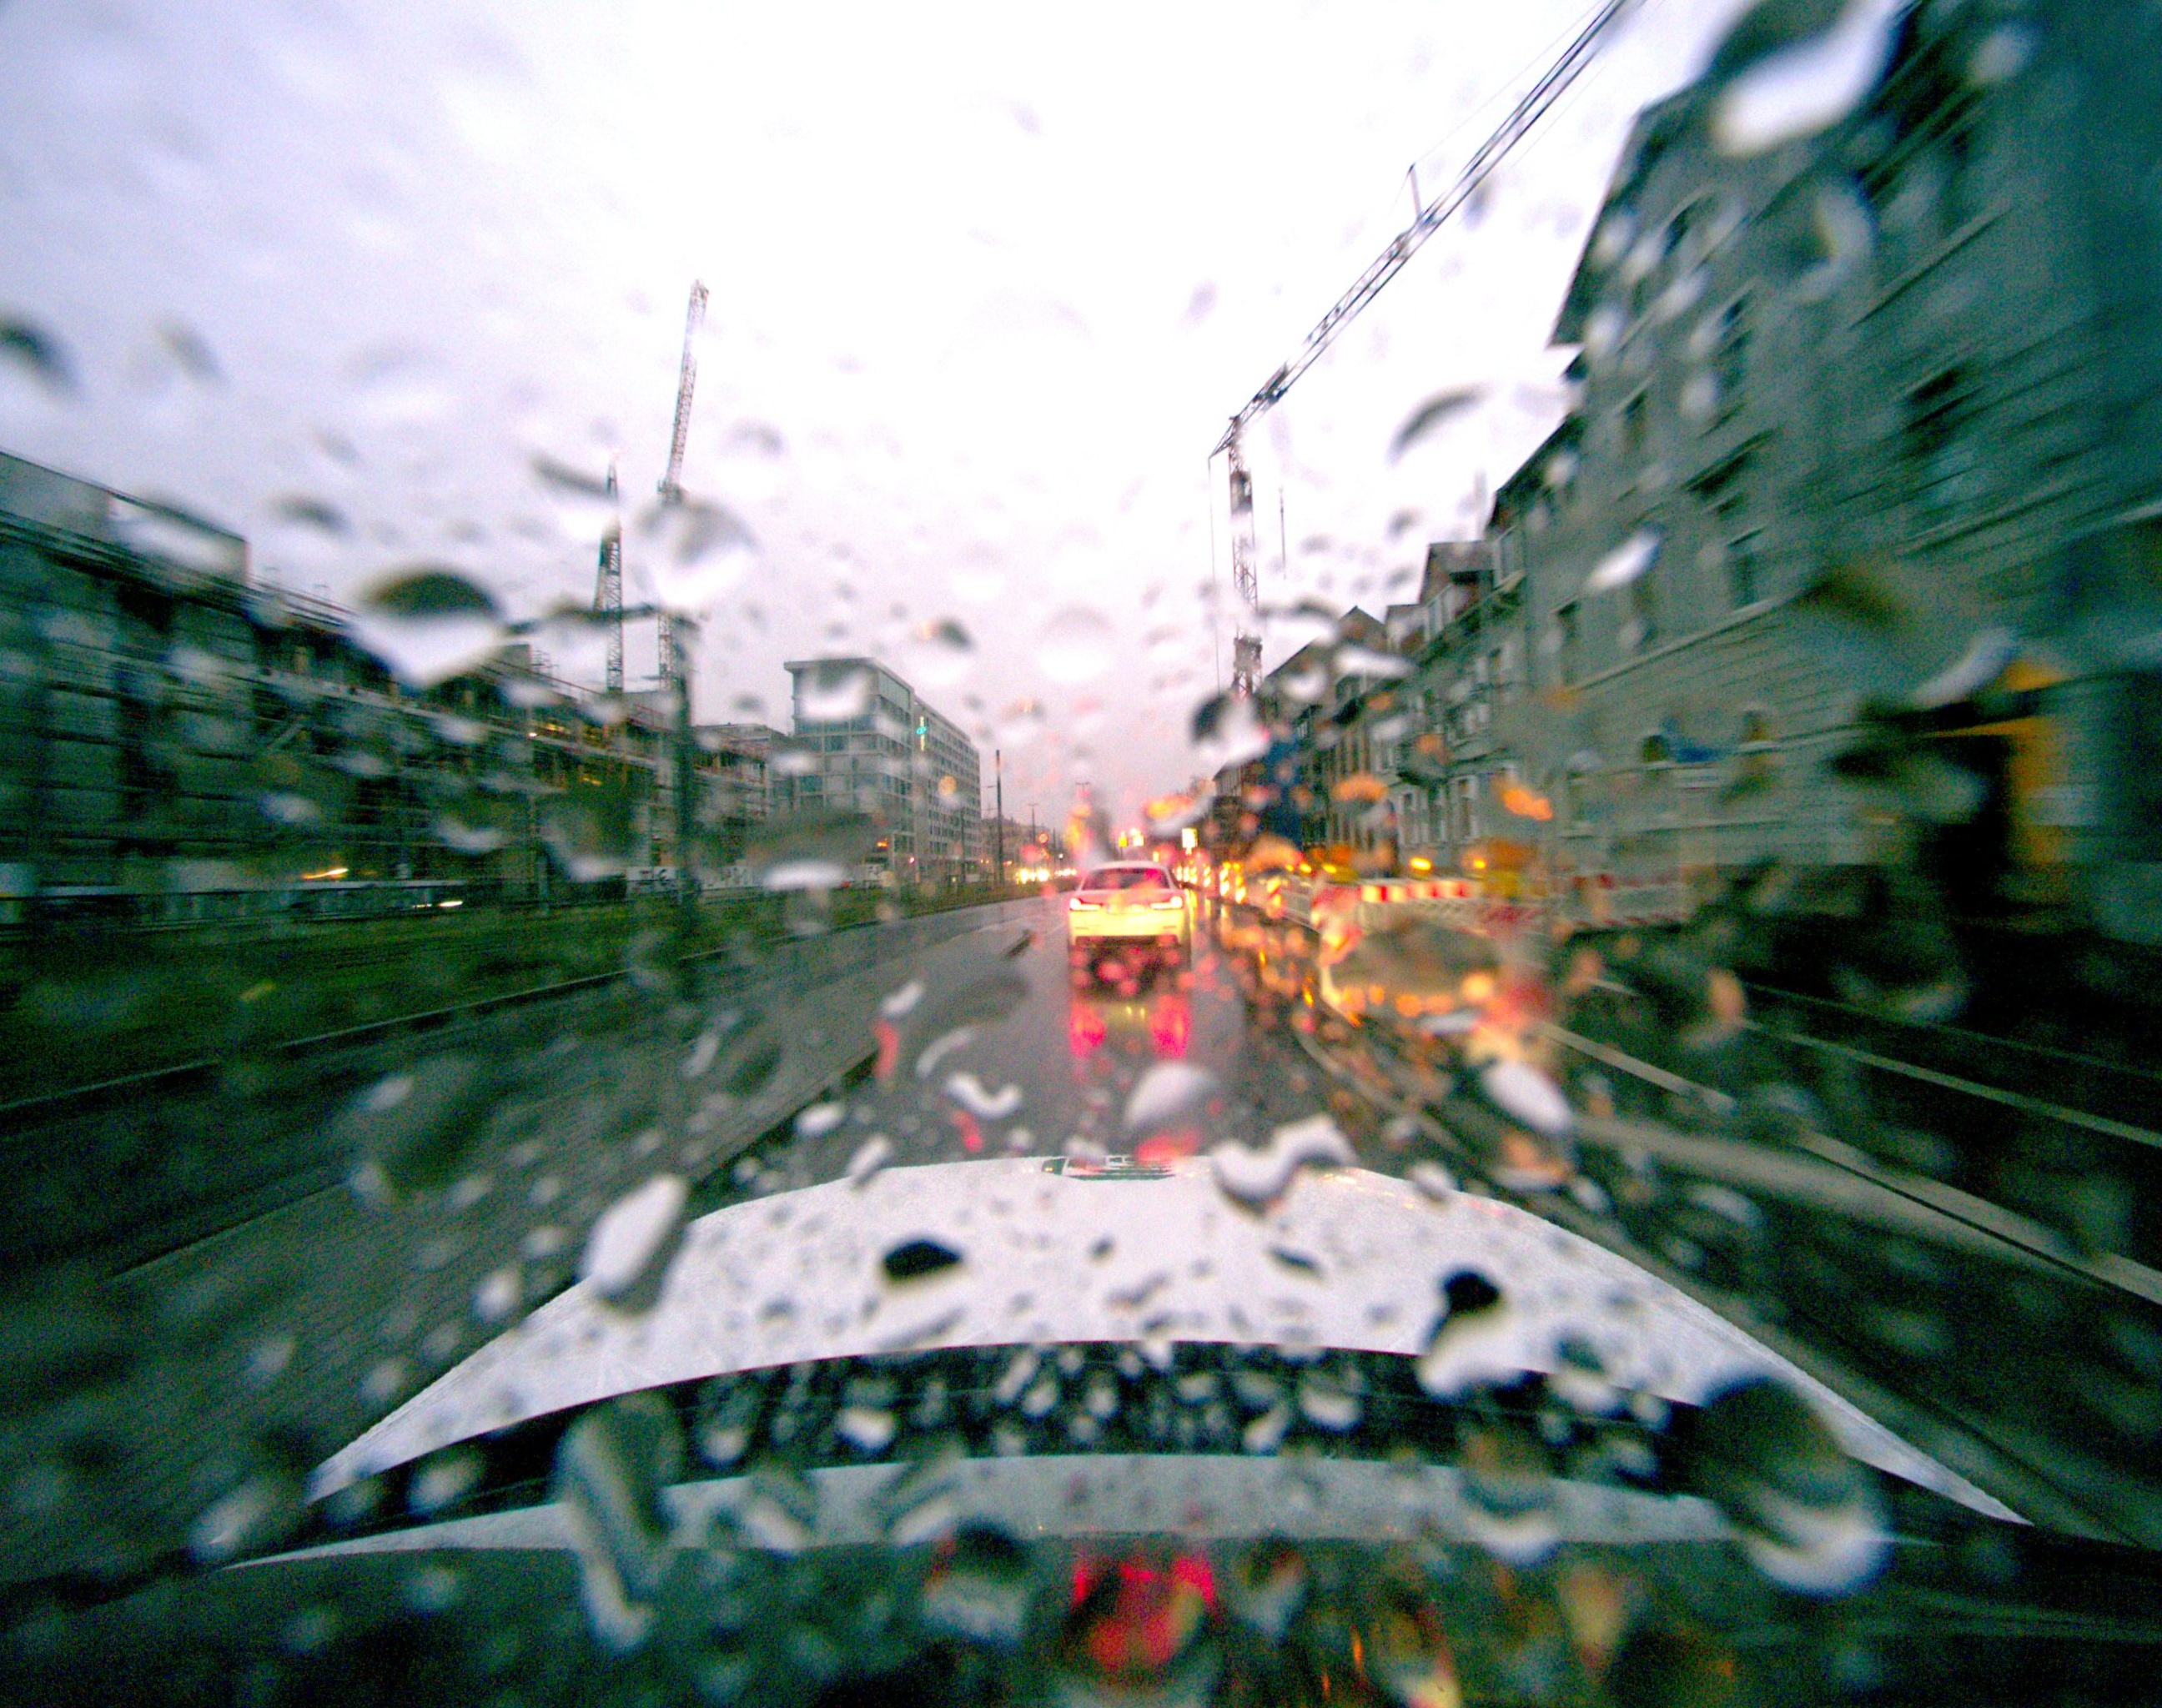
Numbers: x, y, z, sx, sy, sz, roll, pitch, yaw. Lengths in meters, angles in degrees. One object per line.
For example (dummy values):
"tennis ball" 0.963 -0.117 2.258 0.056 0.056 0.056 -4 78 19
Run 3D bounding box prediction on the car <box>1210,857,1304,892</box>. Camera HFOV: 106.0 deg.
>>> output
"car" 8.206 0.909 37.862 4.109 1.518 1.888 0 -1 -32

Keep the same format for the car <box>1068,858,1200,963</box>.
"car" 0.887 0.839 14.009 1.844 1.465 4.950 -1 -1 3

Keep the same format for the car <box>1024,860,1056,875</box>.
"car" -5.602 1.828 111.235 3.994 1.975 1.990 -1 -1 -15
